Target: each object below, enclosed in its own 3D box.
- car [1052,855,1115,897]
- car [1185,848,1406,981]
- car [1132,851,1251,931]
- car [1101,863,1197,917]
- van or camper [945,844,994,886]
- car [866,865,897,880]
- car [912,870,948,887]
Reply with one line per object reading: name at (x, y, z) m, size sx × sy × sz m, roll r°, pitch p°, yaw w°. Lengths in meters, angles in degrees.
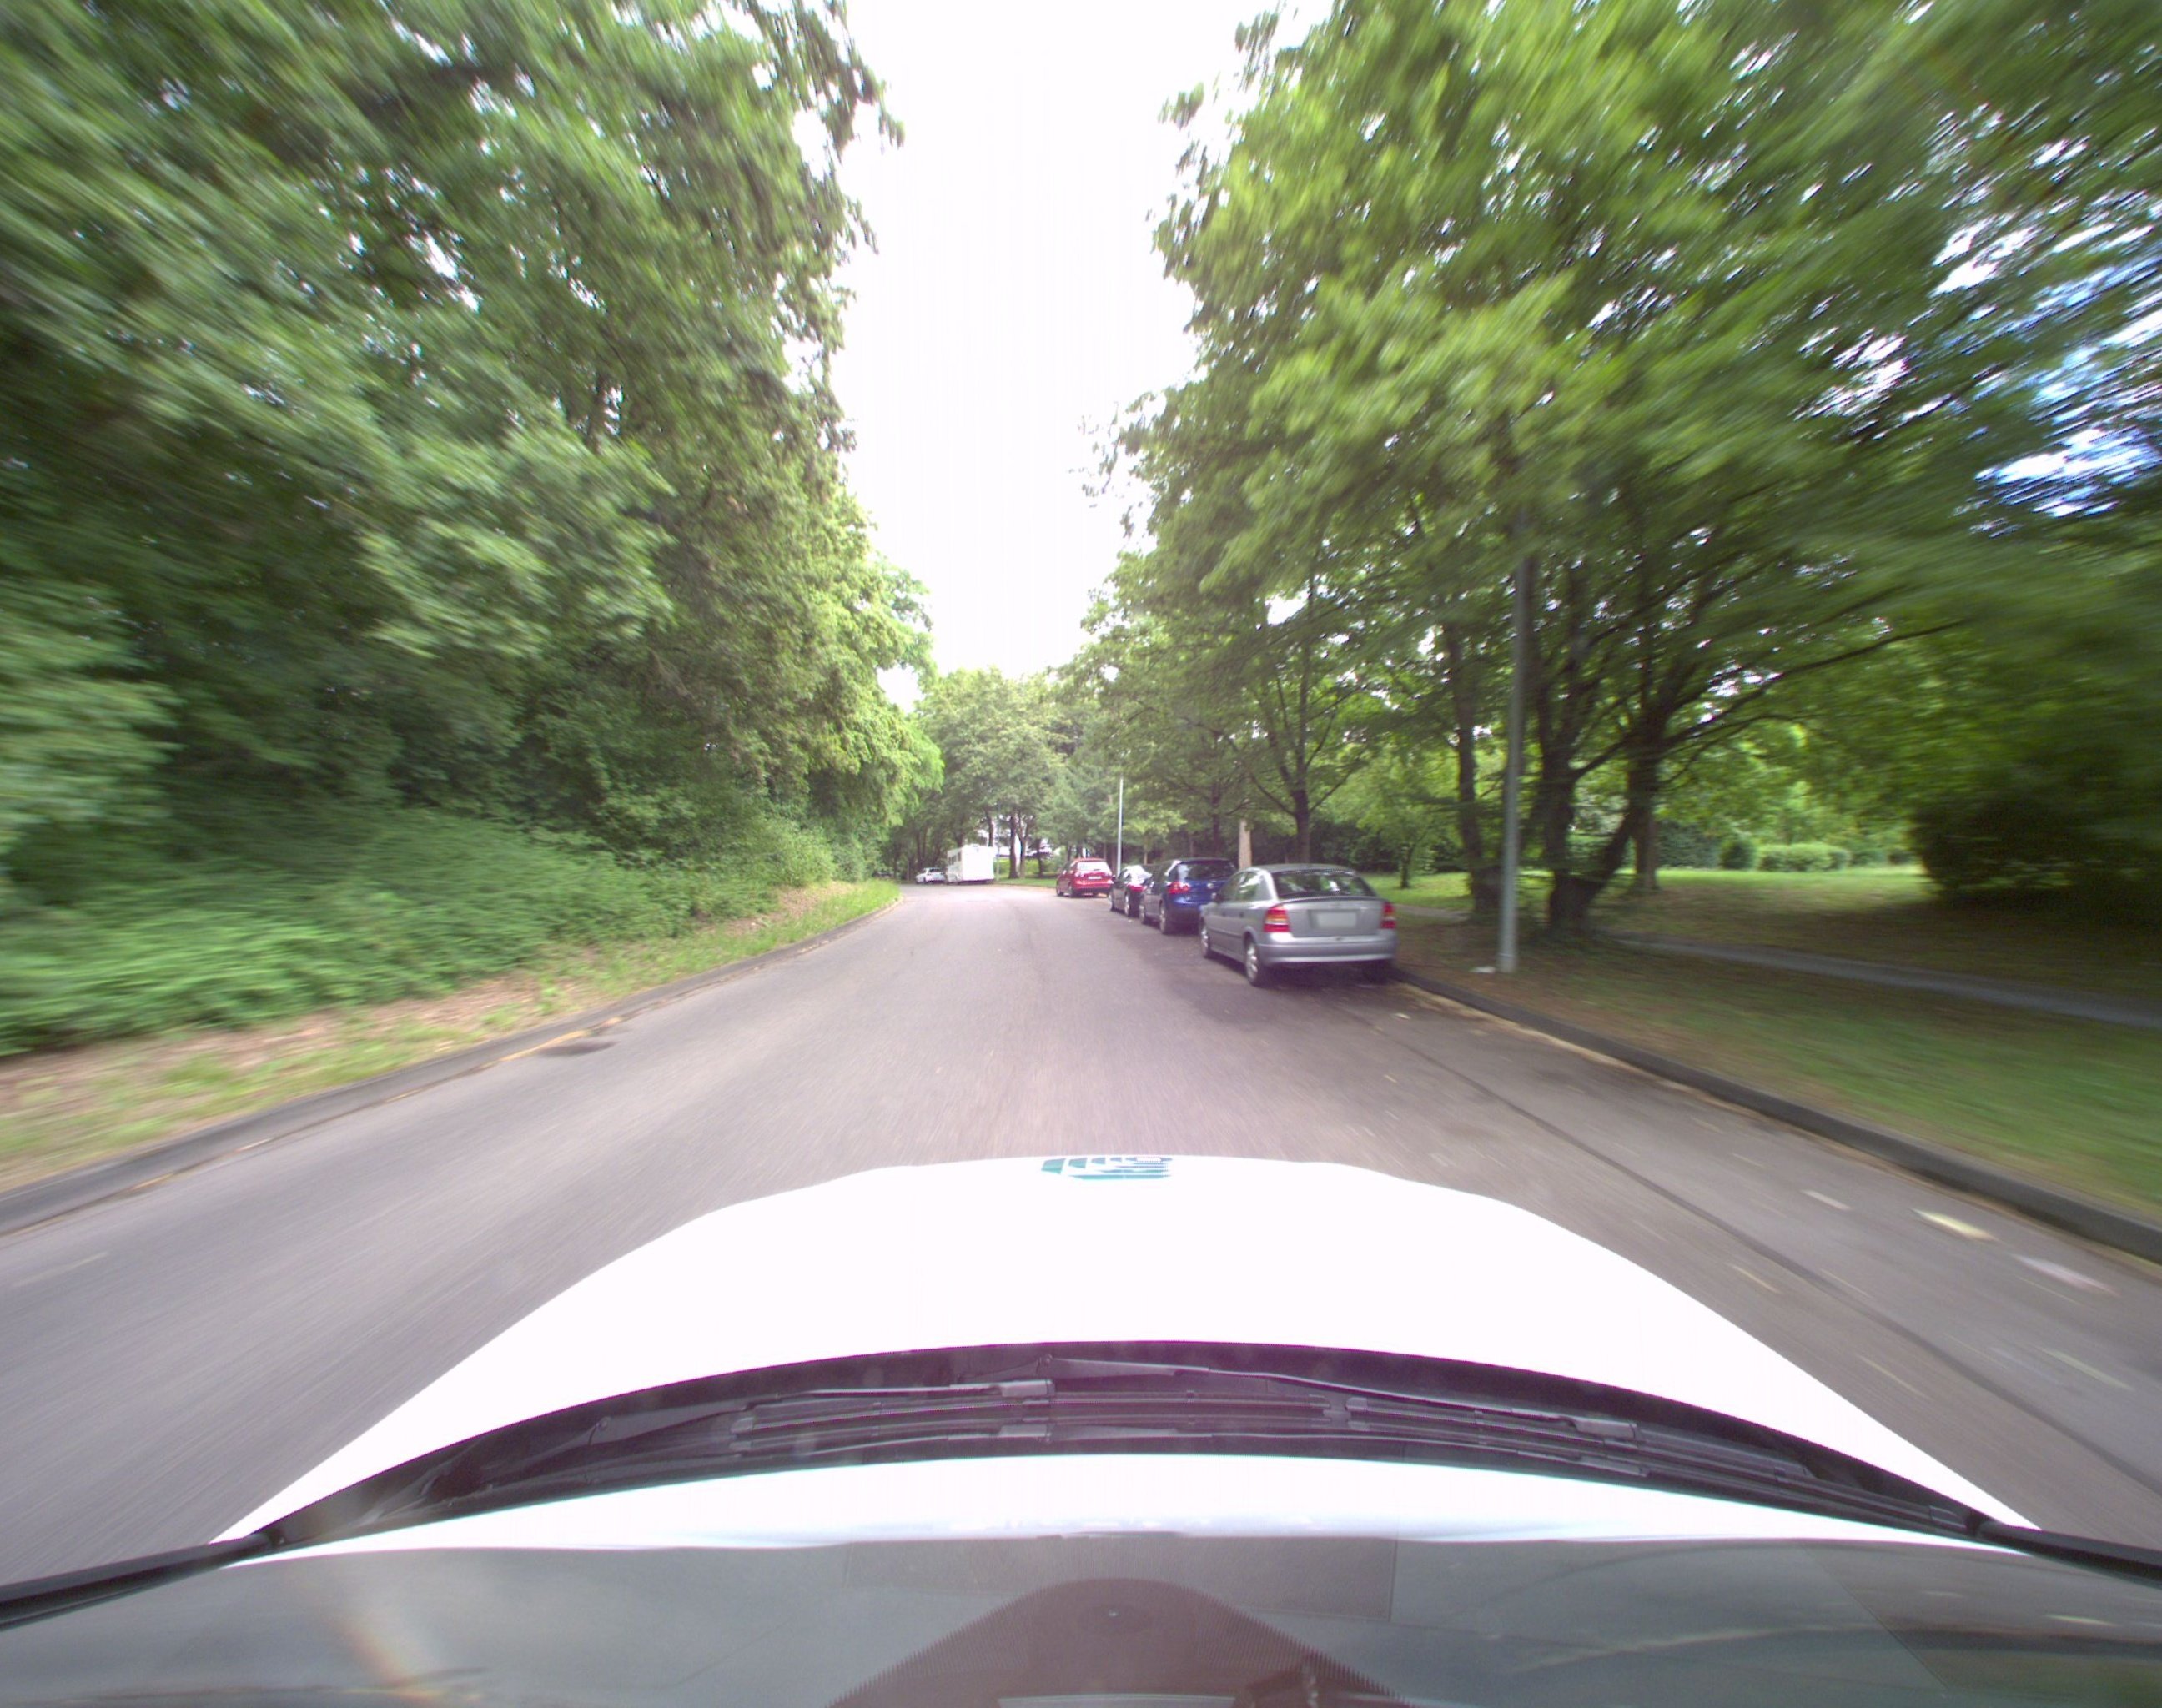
car at (0.049, 0.893, 33.286) m, size 1.740 × 1.562 × 3.983 m, roll -1°, pitch -1°, yaw -12°
car at (2.655, 0.710, 11.063) m, size 1.714 × 1.431 × 3.943 m, roll -1°, pitch -1°, yaw -4°
car at (2.267, 0.762, 17.775) m, size 1.711 × 1.510 × 4.174 m, roll 1°, pitch -1°, yaw -5°
car at (1.751, 0.923, 22.507) m, size 1.749 × 1.337 × 4.403 m, roll 0°, pitch -1°, yaw -8°
van or camper at (-8.524, 0.820, 61.998) m, size 2.439 × 3.007 × 5.170 m, roll -1°, pitch 0°, yaw -22°
car at (-21.662, 2.030, 88.348) m, size 2.008 × 1.501 × 3.957 m, roll 2°, pitch -1°, yaw -35°
car at (-13.755, 2.195, 74.042) m, size 2.006 × 1.473 × 3.962 m, roll 2°, pitch -1°, yaw -30°
